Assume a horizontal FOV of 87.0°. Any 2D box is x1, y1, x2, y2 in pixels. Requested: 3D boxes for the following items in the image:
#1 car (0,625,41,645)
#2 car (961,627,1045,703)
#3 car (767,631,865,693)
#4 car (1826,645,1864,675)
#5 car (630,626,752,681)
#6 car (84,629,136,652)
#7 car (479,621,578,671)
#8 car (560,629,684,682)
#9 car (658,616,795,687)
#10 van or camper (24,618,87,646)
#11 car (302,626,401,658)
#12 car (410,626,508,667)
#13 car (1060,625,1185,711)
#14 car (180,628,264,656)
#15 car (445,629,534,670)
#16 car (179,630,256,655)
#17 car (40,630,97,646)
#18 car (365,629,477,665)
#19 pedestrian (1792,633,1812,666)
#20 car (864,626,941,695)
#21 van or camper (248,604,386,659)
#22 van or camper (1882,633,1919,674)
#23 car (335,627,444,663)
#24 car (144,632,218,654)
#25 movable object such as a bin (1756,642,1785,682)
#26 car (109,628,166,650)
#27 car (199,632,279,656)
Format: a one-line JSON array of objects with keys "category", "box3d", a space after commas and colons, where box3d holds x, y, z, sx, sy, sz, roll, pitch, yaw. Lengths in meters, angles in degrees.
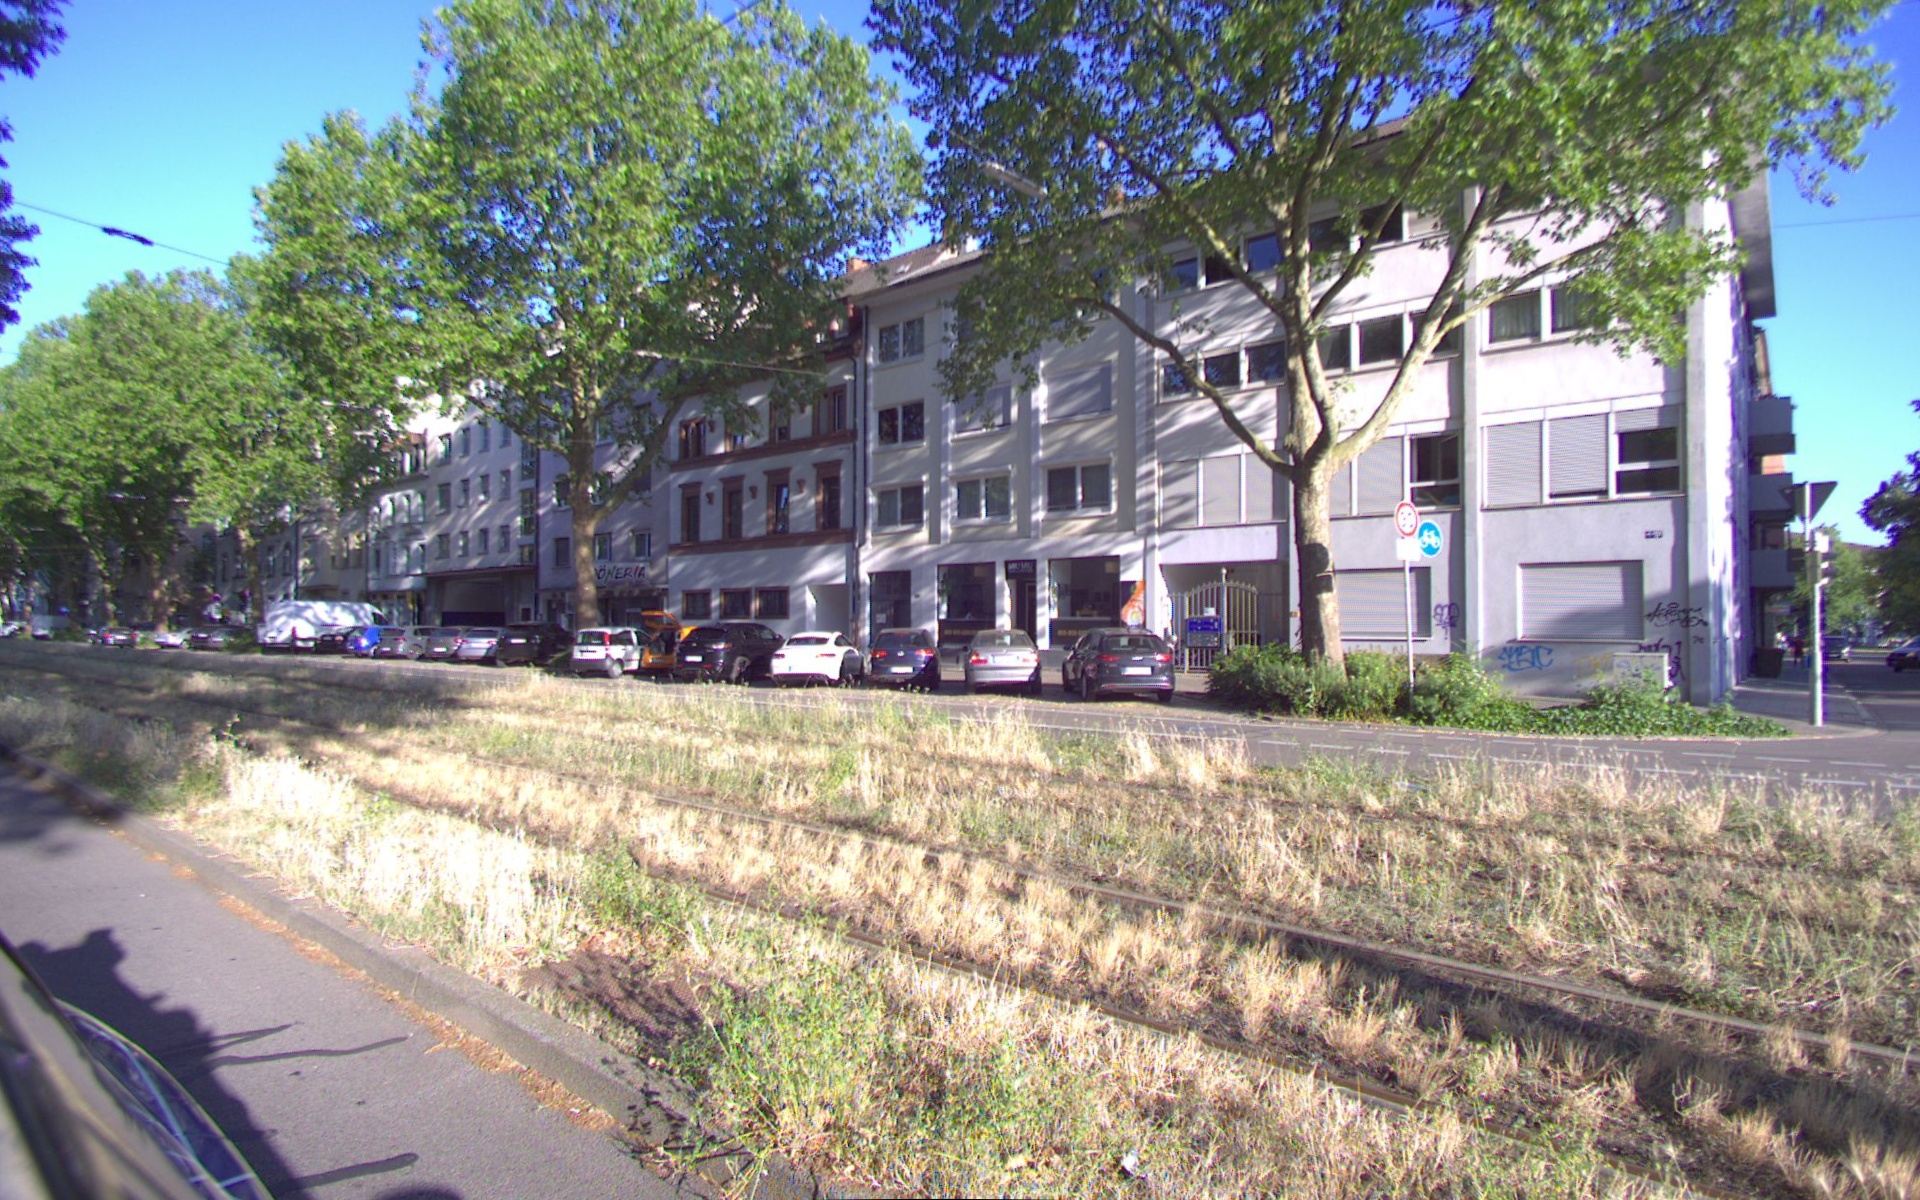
[{"category": "car", "box3d": [-107.378, 3.984, 115.157, 1.971, 2.029, 4.002, -1, 0, -2]}, {"category": "car", "box3d": [0.900, 1.426, 23.275, 1.698, 1.452, 4.000, -1, 0, -1]}, {"category": "car", "box3d": [-3.694, 1.577, 26.685, 1.700, 1.343, 4.200, -1, 0, 4]}, {"category": "car", "box3d": [63.362, 4.288, 72.461, 1.999, 2.029, 3.945, -1, -2, 41]}, {"category": "car", "box3d": [-8.361, 1.624, 31.793, 1.764, 1.490, 3.974, -1, 0, 20]}, {"category": "car", "box3d": [-56.590, 2.691, 67.351, 4.480, 1.400, 1.802, -1, -4, 40]}, {"category": "car", "box3d": [-15.682, 1.638, 37.017, 1.972, 1.673, 4.000, -1, -1, -1]}, {"category": "car", "box3d": [-10.462, 1.692, 31.694, 1.643, 1.460, 4.345, 0, -1, 14]}, {"category": "car", "box3d": [-6.459, 1.465, 28.604, 1.975, 1.800, 4.343, 1, -3, 14]}, {"category": "van or camper", "box3d": [-88.320, 3.092, 98.894, 2.171, 2.418, 4.364, -1, 1, 0]}, {"category": "car", "box3d": [-30.744, 2.125, 51.256, 1.984, 1.502, 3.975, -1, -2, 18]}, {"category": "car", "box3d": [-20.538, 1.879, 41.668, 1.735, 1.433, 3.993, -1, 0, 6]}, {"category": "car", "box3d": [3.295, 1.340, 21.286, 1.791, 1.490, 4.002, -1, 0, -2]}, {"category": "car", "box3d": [-45.529, 2.609, 62.547, 1.912, 1.605, 4.155, 0, -4, 4]}, {"category": "car", "box3d": [-18.295, 1.885, 39.526, 1.883, 1.396, 4.004, -1, -1, -5]}, {"category": "car", "box3d": [-47.728, 2.786, 65.175, 1.803, 1.545, 3.994, 0, -3, 4]}, {"category": "car", "box3d": [-86.014, 3.627, 97.691, 1.709, 1.256, 3.993, -1, 1, 6]}, {"category": "car", "box3d": [-23.601, 2.018, 44.434, 1.941, 1.503, 3.964, -1, -2, 27]}, {"category": "pedestrian", "box3d": [44.717, 2.616, 53.740, 0.686, 1.764, 0.636, -1, -2, 30]}, {"category": "car", "box3d": [-1.441, 1.464, 25.680, 1.776, 1.452, 4.002, -1, 0, -3]}, {"category": "van or camper", "box3d": [-33.109, 1.624, 52.366, 2.162, 2.666, 5.929, -1, -2, 19]}, {"category": "van or camper", "box3d": [49.846, 2.662, 50.751, 5.072, 2.029, 1.996, 0, -2, 6]}, {"category": "car", "box3d": [-25.995, 2.004, 46.214, 1.854, 1.431, 3.951, -1, 0, 36]}, {"category": "car", "box3d": [-51.785, 2.829, 67.342, 1.806, 1.400, 3.670, 0, -2, 9]}, {"category": "movable object such as a bin", "box3d": [27.825, 2.112, 34.738, 0.745, 1.315, 0.861, -1, -2, 39]}, {"category": "car", "box3d": [-63.508, 3.036, 78.207, 1.703, 1.666, 4.008, 0, -2, -10]}, {"category": "car", "box3d": [-43.001, 2.639, 60.446, 1.778, 1.368, 4.002, 0, -3, 3]}]
